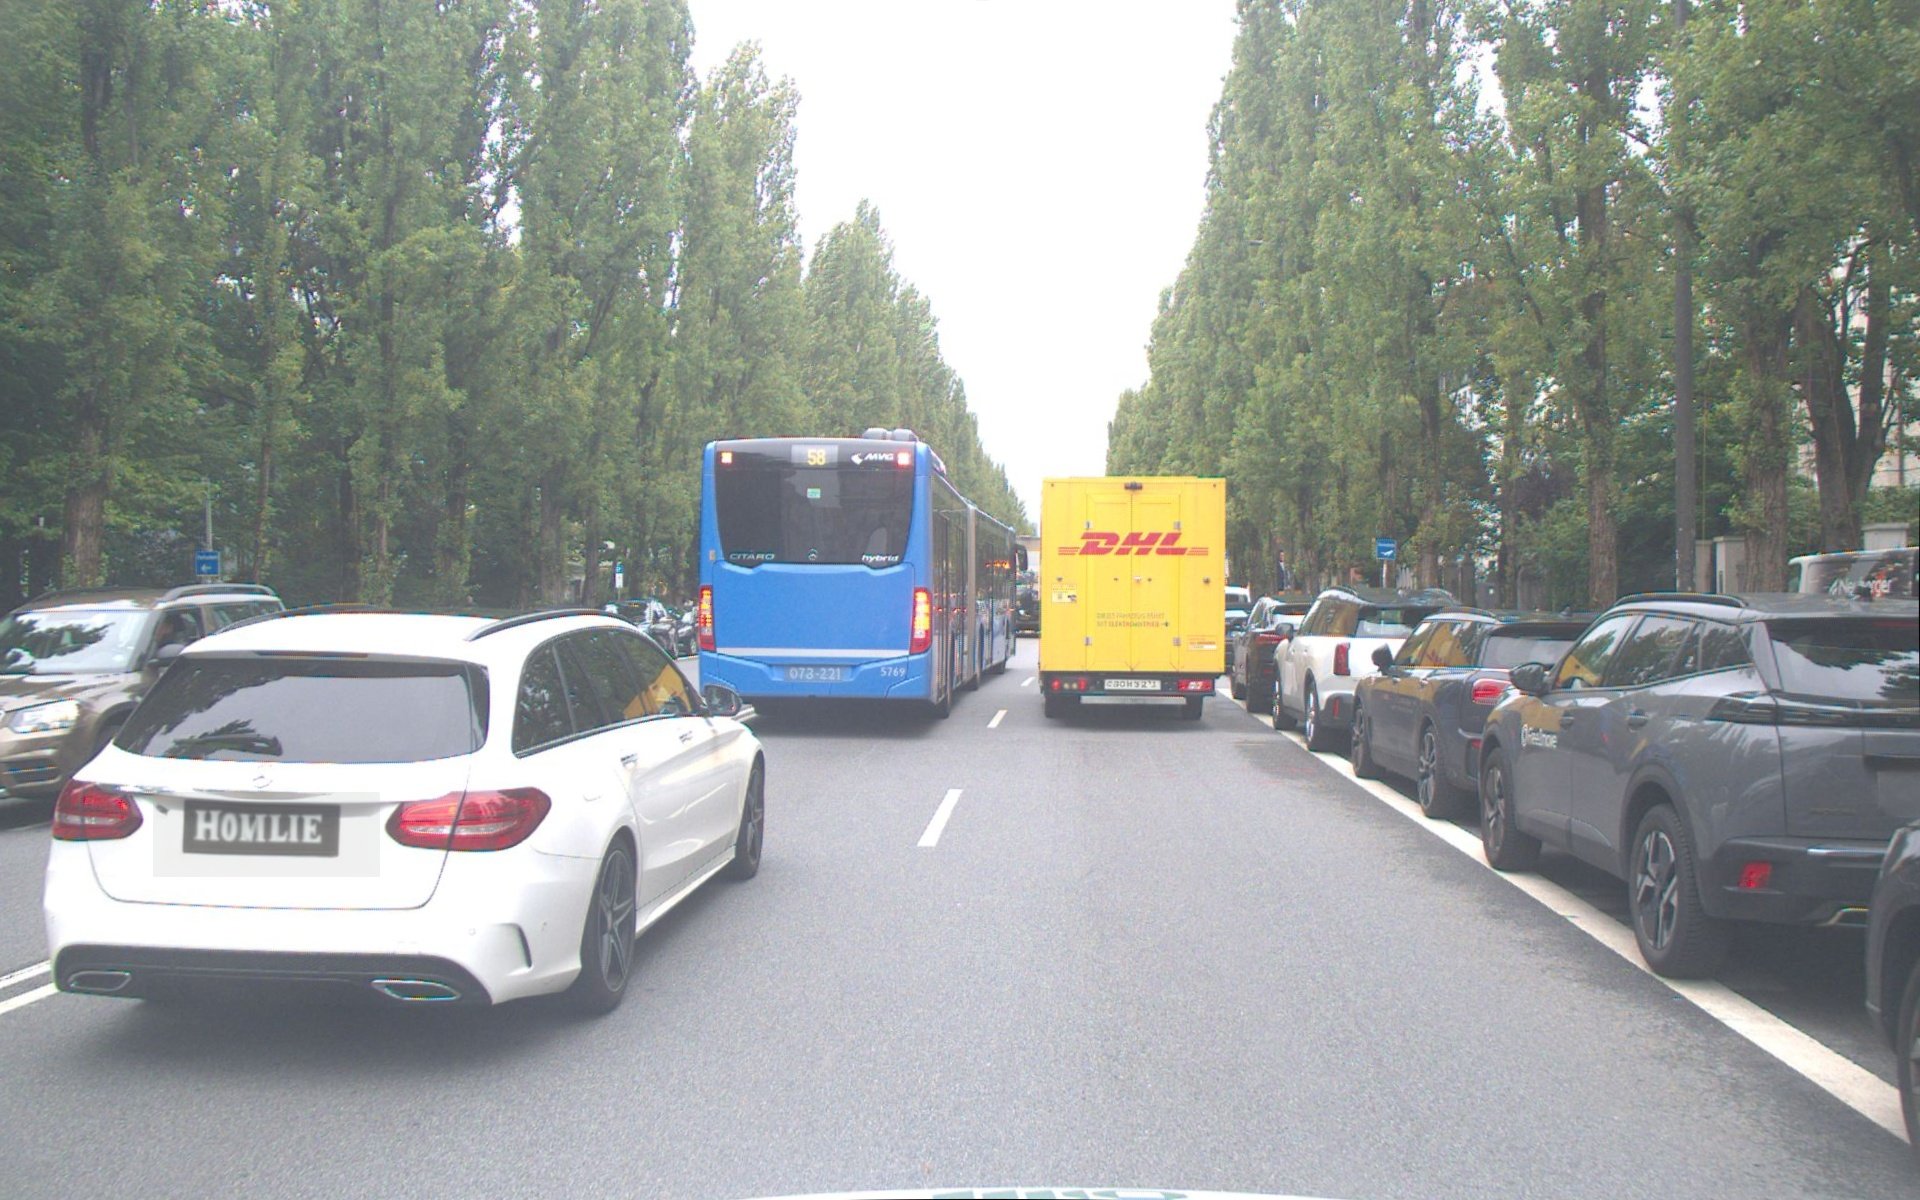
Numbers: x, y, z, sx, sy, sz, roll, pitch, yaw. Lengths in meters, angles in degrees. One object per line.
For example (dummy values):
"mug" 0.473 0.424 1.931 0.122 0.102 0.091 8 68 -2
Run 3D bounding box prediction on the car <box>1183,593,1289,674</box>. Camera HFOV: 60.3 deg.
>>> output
"car" 5.665 0.660 34.377 1.824 1.579 4.002 0 0 4

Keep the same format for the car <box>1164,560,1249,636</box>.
"car" 7.087 -0.072 48.119 2.009 2.049 5.695 -1 0 4

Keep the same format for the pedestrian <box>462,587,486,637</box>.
"pedestrian" -17.324 0.428 58.949 0.587 1.769 0.640 -1 0 4

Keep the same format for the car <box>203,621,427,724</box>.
"car" -9.752 1.050 25.355 1.547 1.327 4.031 -2 0 4

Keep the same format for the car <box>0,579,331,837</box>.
"car" -6.720 0.735 12.983 1.747 1.685 4.115 -2 0 3

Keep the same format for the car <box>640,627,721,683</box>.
"car" -8.319 1.602 49.522 1.507 1.458 3.871 -4 0 3

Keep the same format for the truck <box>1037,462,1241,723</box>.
"truck" 2.235 -0.083 22.434 2.279 2.949 7.336 0 0 3

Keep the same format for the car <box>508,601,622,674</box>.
"car" -9.125 0.831 38.477 1.708 1.545 4.116 -2 0 -2

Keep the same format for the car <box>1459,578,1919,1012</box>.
"car" 3.711 0.691 7.896 1.617 1.530 4.115 1 0 3

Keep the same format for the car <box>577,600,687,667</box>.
"car" -8.607 0.842 43.762 1.754 1.575 4.340 -4 0 3

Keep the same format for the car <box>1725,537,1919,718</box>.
"car" 11.492 0.292 20.326 1.952 1.959 5.326 0 0 3

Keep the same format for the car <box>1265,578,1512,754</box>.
"car" 4.420 0.612 17.658 1.743 1.609 4.148 1 0 3

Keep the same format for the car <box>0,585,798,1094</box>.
"car" -1.983 0.701 7.185 1.787 1.480 4.585 0 0 4

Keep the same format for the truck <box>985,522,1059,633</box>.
"truck" 2.422 -0.827 65.109 2.659 4.034 9.220 -1 0 2

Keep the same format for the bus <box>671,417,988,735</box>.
"bus" -1.276 -0.264 21.601 2.795 3.270 9.064 0 0 4

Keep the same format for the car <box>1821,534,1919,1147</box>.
"car" 3.340 0.641 2.786 1.783 1.618 4.225 0 0 3

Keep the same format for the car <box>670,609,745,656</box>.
"car" -8.254 1.050 54.431 1.640 1.438 4.001 -1 0 3

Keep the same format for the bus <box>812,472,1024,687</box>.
"bus" -0.480 -0.320 30.920 2.811 3.362 9.795 0 0 5

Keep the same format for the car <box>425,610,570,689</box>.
"car" -9.447 0.968 34.080 1.650 1.437 4.006 -2 0 3

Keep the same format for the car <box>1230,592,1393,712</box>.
"car" 4.833 0.660 23.282 1.689 1.521 4.326 0 0 4

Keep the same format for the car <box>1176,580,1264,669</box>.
"car" 6.203 0.552 39.871 1.768 2.011 4.239 0 0 4

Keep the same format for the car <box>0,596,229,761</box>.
"car" -10.703 0.857 19.492 1.841 1.687 4.720 -3 0 3

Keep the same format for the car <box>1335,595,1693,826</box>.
"car" 4.121 0.725 12.983 1.599 1.471 4.150 2 0 3
